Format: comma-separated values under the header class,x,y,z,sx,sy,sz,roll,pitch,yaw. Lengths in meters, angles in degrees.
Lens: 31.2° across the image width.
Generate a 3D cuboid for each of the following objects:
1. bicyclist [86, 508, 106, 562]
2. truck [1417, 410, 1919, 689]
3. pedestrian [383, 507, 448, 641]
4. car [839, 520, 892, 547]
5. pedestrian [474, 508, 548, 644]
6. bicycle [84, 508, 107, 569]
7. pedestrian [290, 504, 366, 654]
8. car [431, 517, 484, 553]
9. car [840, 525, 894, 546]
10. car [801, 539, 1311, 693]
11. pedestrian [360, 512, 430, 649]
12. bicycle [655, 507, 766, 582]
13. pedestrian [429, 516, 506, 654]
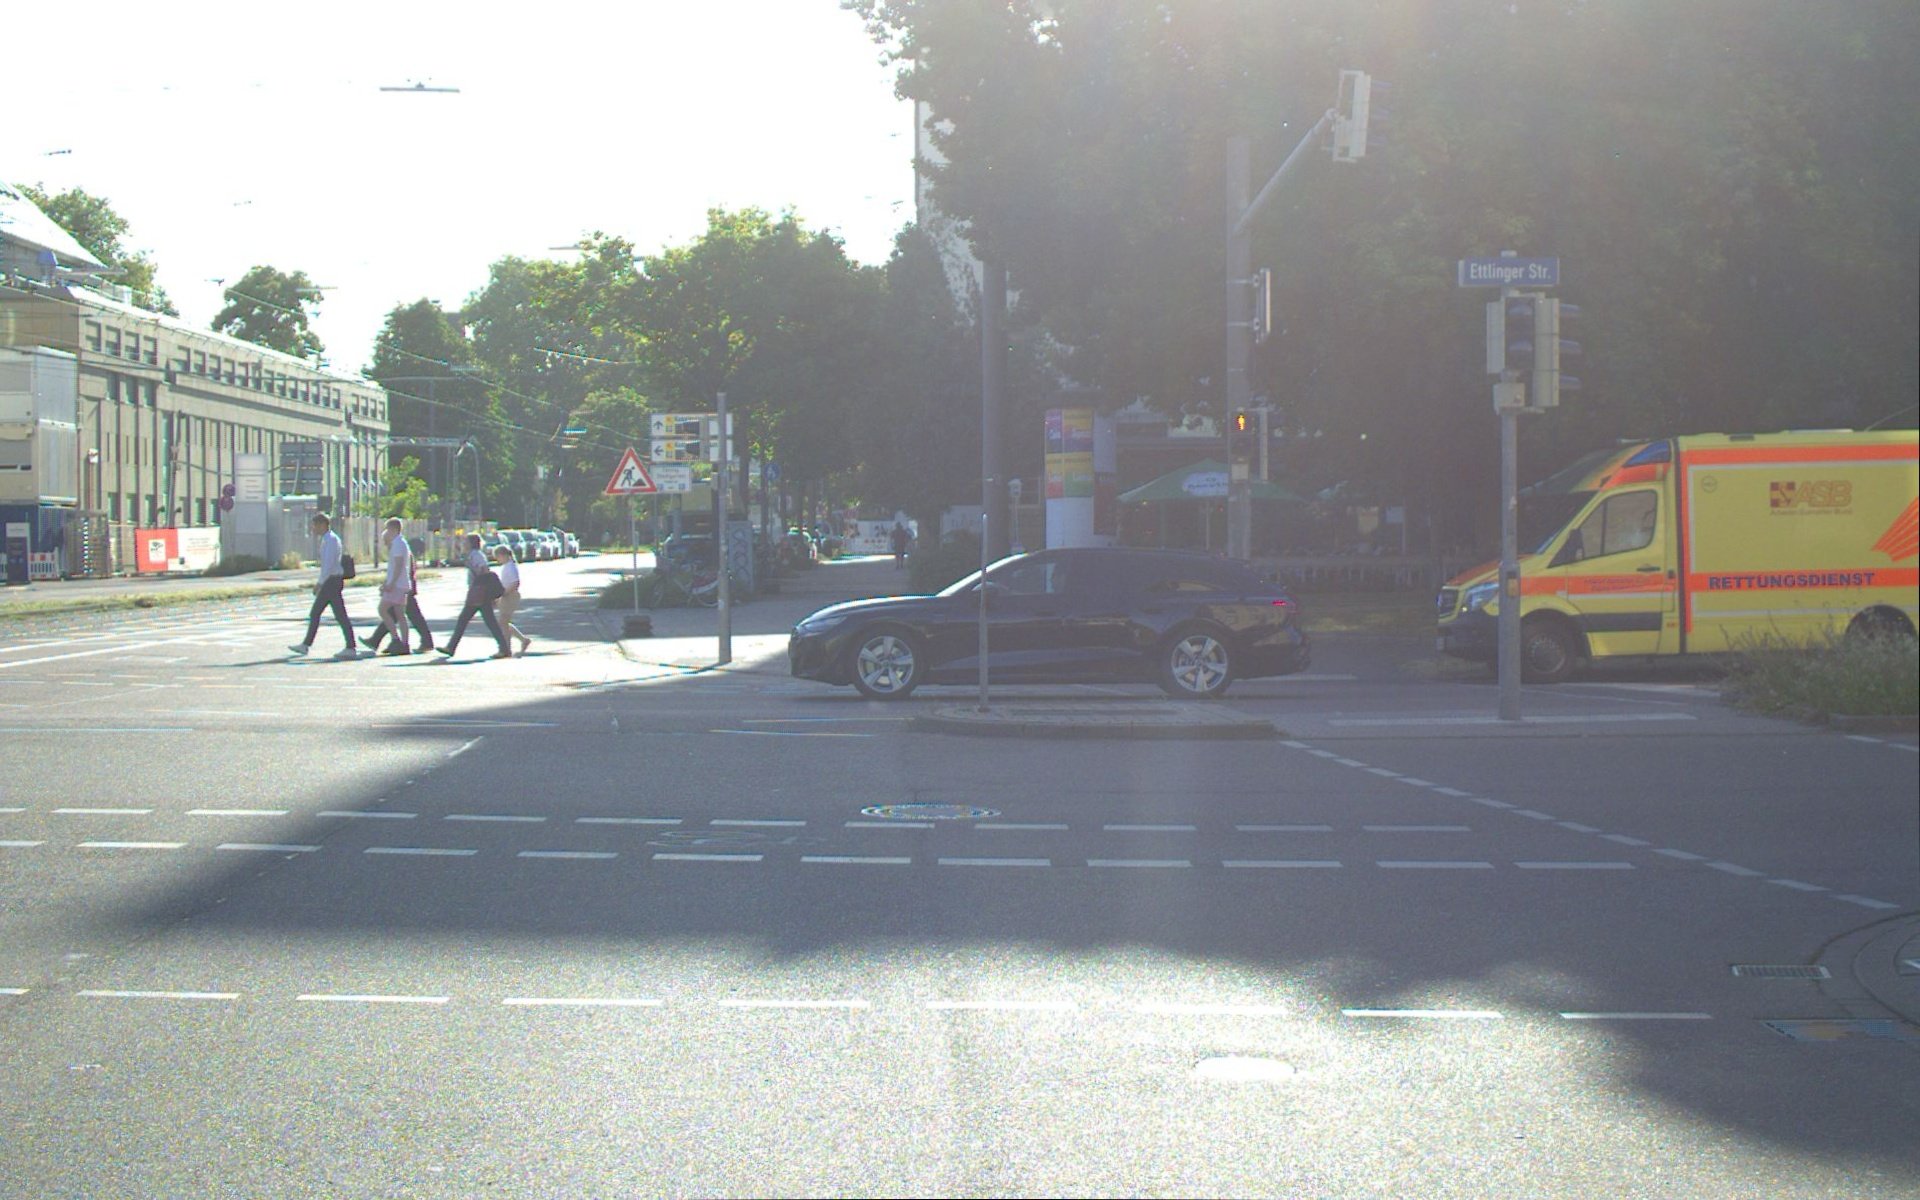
class,x,y,z,sx,sy,sz,roll,pitch,yaw
bicyclist,-32.855,-2.470,130.680,0.571,2.017,0.762,0,1,-2
truck,8.530,-0.571,38.480,6.468,3.005,2.725,0,1,0
pedestrian,-7.357,-0.347,46.454,0.739,1.797,0.532,0,1,5
car,-5.878,-4.115,213.431,3.214,1.583,1.446,1,0,-4
pedestrian,-5.975,-0.317,45.766,0.870,1.797,0.532,0,1,5
bicycle,-32.853,-2.338,130.648,0.571,2.288,1.422,0,1,-2
pedestrian,-8.133,-0.278,44.259,0.802,1.911,0.637,0,1,5
car,-22.836,-2.966,156.314,1.894,1.601,4.501,-1,1,-2
car,-5.723,-3.961,211.165,3.217,1.259,1.373,1,0,-5
car,0.883,0.166,32.922,4.735,1.410,2.000,0,-1,0
pedestrian,-7.473,-0.267,45.505,0.739,1.797,0.716,0,1,5
bicycle,-5.908,-1.320,81.513,2.547,1.737,1.037,1,0,0
pedestrian,-6.467,-0.204,45.164,0.870,1.797,0.664,0,1,5
